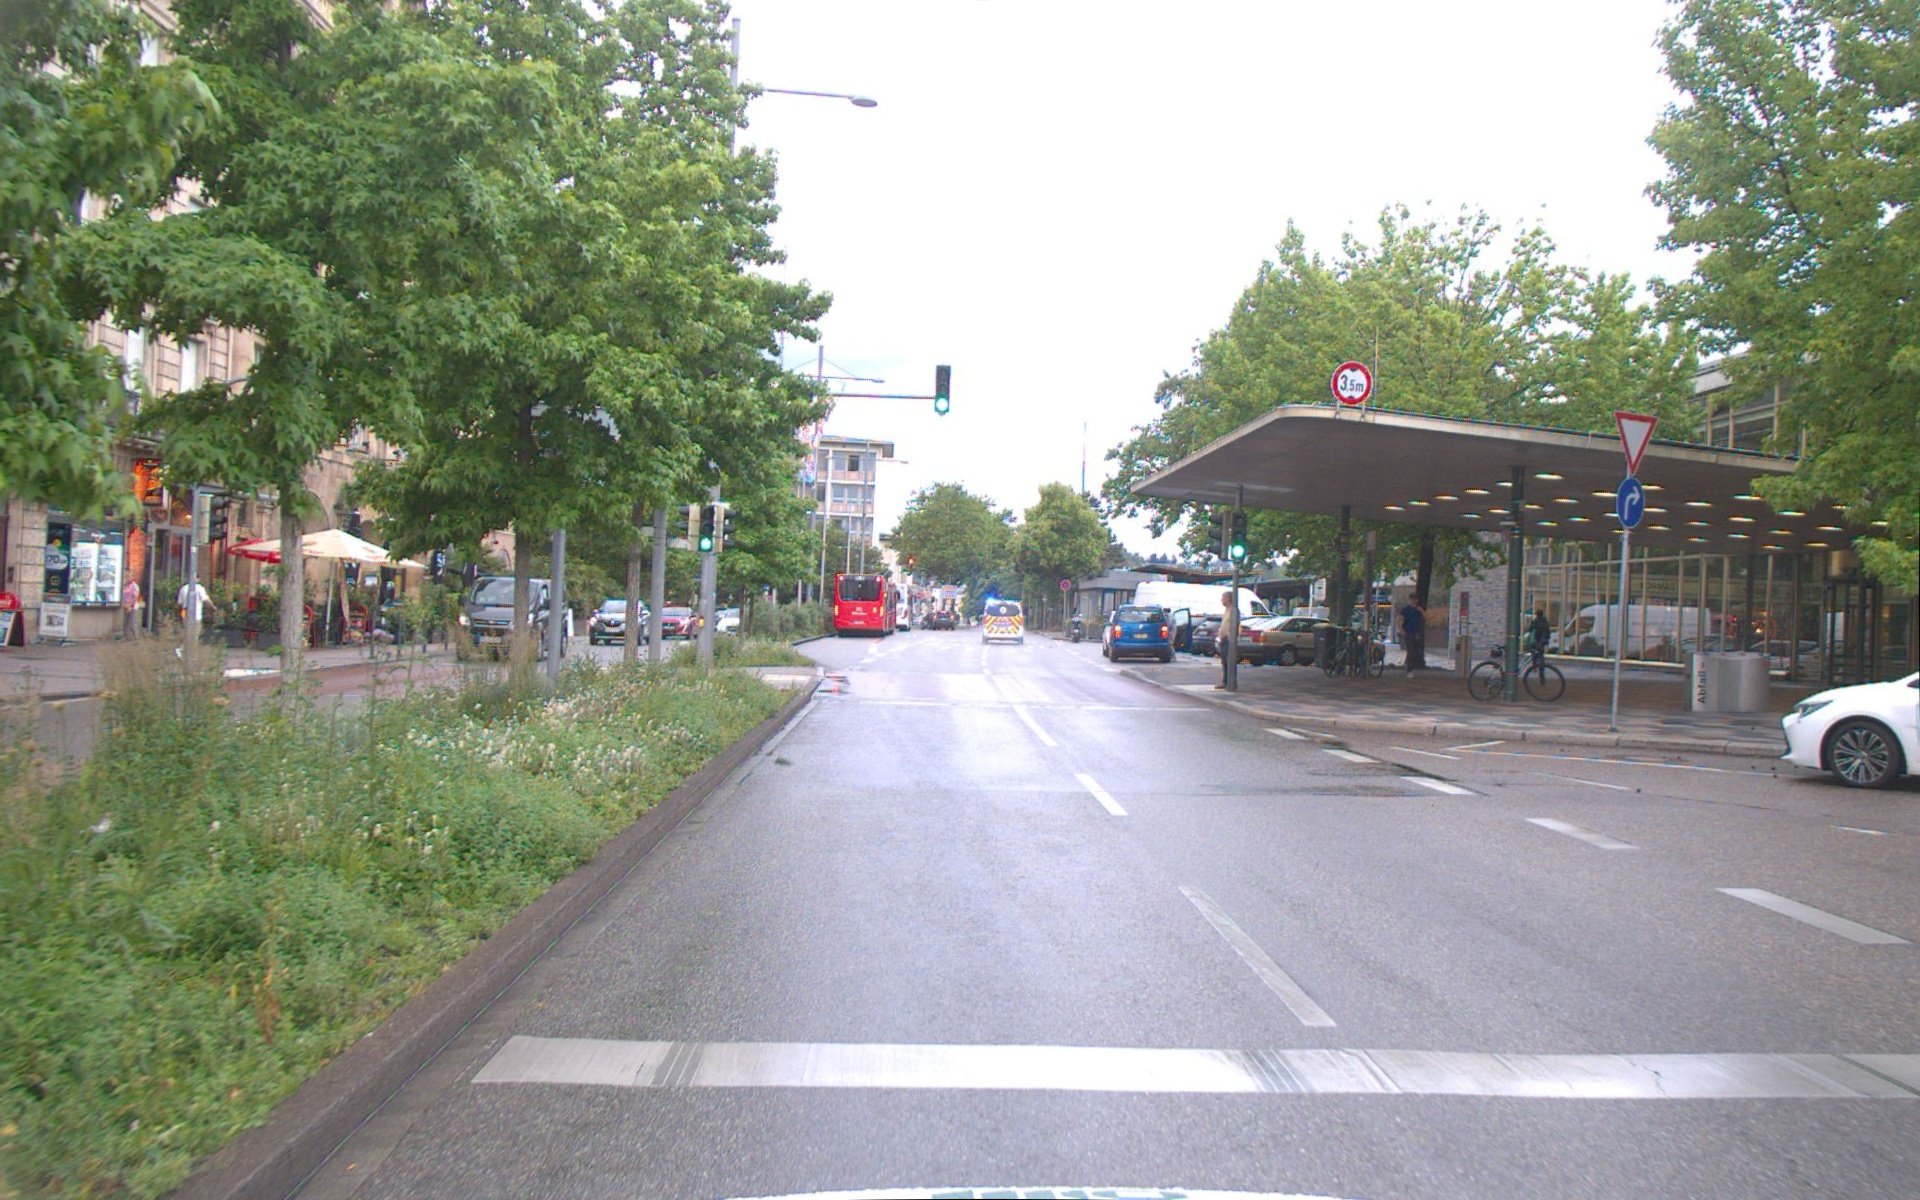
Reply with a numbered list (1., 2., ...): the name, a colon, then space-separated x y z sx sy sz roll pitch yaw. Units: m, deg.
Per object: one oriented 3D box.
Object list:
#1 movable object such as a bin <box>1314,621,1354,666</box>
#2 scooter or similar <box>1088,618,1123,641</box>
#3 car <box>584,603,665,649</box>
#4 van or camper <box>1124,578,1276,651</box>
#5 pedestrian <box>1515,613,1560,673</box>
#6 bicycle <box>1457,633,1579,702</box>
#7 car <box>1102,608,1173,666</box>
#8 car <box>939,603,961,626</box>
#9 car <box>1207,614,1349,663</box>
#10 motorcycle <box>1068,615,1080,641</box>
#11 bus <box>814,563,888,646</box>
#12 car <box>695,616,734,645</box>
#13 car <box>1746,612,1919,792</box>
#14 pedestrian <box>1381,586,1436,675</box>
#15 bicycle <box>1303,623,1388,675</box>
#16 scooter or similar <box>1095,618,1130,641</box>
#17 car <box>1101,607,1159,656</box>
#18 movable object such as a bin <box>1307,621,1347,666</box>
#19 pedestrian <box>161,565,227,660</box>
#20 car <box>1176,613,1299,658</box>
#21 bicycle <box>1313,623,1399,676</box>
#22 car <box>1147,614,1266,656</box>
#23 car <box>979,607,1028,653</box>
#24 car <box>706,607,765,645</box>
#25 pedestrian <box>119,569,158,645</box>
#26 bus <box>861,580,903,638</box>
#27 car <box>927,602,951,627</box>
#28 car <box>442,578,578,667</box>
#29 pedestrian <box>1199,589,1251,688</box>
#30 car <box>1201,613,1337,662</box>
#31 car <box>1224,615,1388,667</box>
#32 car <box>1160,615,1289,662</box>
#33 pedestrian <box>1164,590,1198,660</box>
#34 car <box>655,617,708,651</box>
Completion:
1. movable object such as a bin: 9.156 1.061 40.499 0.737 1.086 0.747 0 -1 -10
2. scooter or similar: 7.518 1.522 85.430 2.131 1.129 0.421 1 -1 -41
3. car: -11.805 0.910 58.481 1.953 1.570 4.632 0 -1 -1
4. van or camper: 9.574 0.578 65.887 5.879 2.811 2.178 0 -1 -29
5. pedestrian: 15.231 1.126 43.631 0.849 1.586 0.812 0 -1 -8
6. bicycle: 8.837 1.069 26.206 1.790 1.074 0.420 0 -1 -2
7. car: 5.158 1.073 48.428 1.820 1.596 4.001 1 -1 3
8. car: -0.911 1.339 151.428 1.953 2.049 3.999 0 -1 -1
9. car: 9.445 1.157 49.078 3.948 1.383 1.844 2 -1 -32
10. motorcycle: 5.722 1.390 82.672 0.582 1.311 1.954 0 0 4
11. bus: -5.599 0.281 87.031 3.473 4.049 11.167 0 -1 -2
12. car: -13.174 1.629 88.962 1.565 1.558 3.652 0 -1 -1
13. car: 9.595 0.903 14.393 1.747 1.573 4.707 1 -1 -40
14. pedestrian: 9.584 0.655 35.383 0.839 1.867 1.189 0 -1 -2
15. bicycle: 8.168 1.029 35.042 1.800 1.074 0.418 0 -1 -20
16. scooter or similar: 7.862 1.514 85.071 2.131 1.129 0.437 1 -1 -41
17. car: 5.550 1.036 54.395 1.750 1.549 3.683 1 -1 4
18. movable object such as a bin: 9.227 1.080 41.611 0.738 1.114 0.746 0 -1 -13
19. pedestrian: -15.566 0.250 33.625 0.862 1.844 0.750 -4 -1 -2
20. car: 9.684 1.236 57.631 3.941 1.468 1.848 1 -1 -28
21. bicycle: 8.286 1.034 34.597 1.800 1.074 0.418 0 -1 -20
22. car: 8.921 1.260 59.811 3.941 1.468 1.848 1 -1 -28
23. car: 1.949 1.351 75.454 1.953 2.049 5.060 0 -1 -1
24. car: -9.454 1.090 69.999 1.953 1.570 4.632 0 -1 -1
25. pedestrian: -18.563 0.158 37.376 0.654 1.693 0.535 0 -1 -10
26. bus: -5.491 0.675 116.580 2.749 3.812 10.439 2 -1 -3
27. car: -1.714 1.179 136.054 1.953 2.049 3.999 0 -1 -1
28. car: -10.971 0.544 40.728 1.952 2.049 5.001 0 -1 0
29. pedestrian: 4.856 0.708 30.339 0.732 1.777 0.834 1 -1 -9
30. car: 9.738 1.196 52.151 3.941 1.468 1.848 1 -1 -28
31. car: 9.495 1.125 45.413 4.125 1.348 1.828 1 -1 -21
32. car: 8.768 1.276 54.764 3.941 1.468 1.848 1 -1 -28
33. pedestrian: 6.531 0.730 48.905 0.815 2.049 0.888 0 -1 -6
34. car: -12.203 1.470 72.593 1.711 1.455 3.952 0 -1 -1
